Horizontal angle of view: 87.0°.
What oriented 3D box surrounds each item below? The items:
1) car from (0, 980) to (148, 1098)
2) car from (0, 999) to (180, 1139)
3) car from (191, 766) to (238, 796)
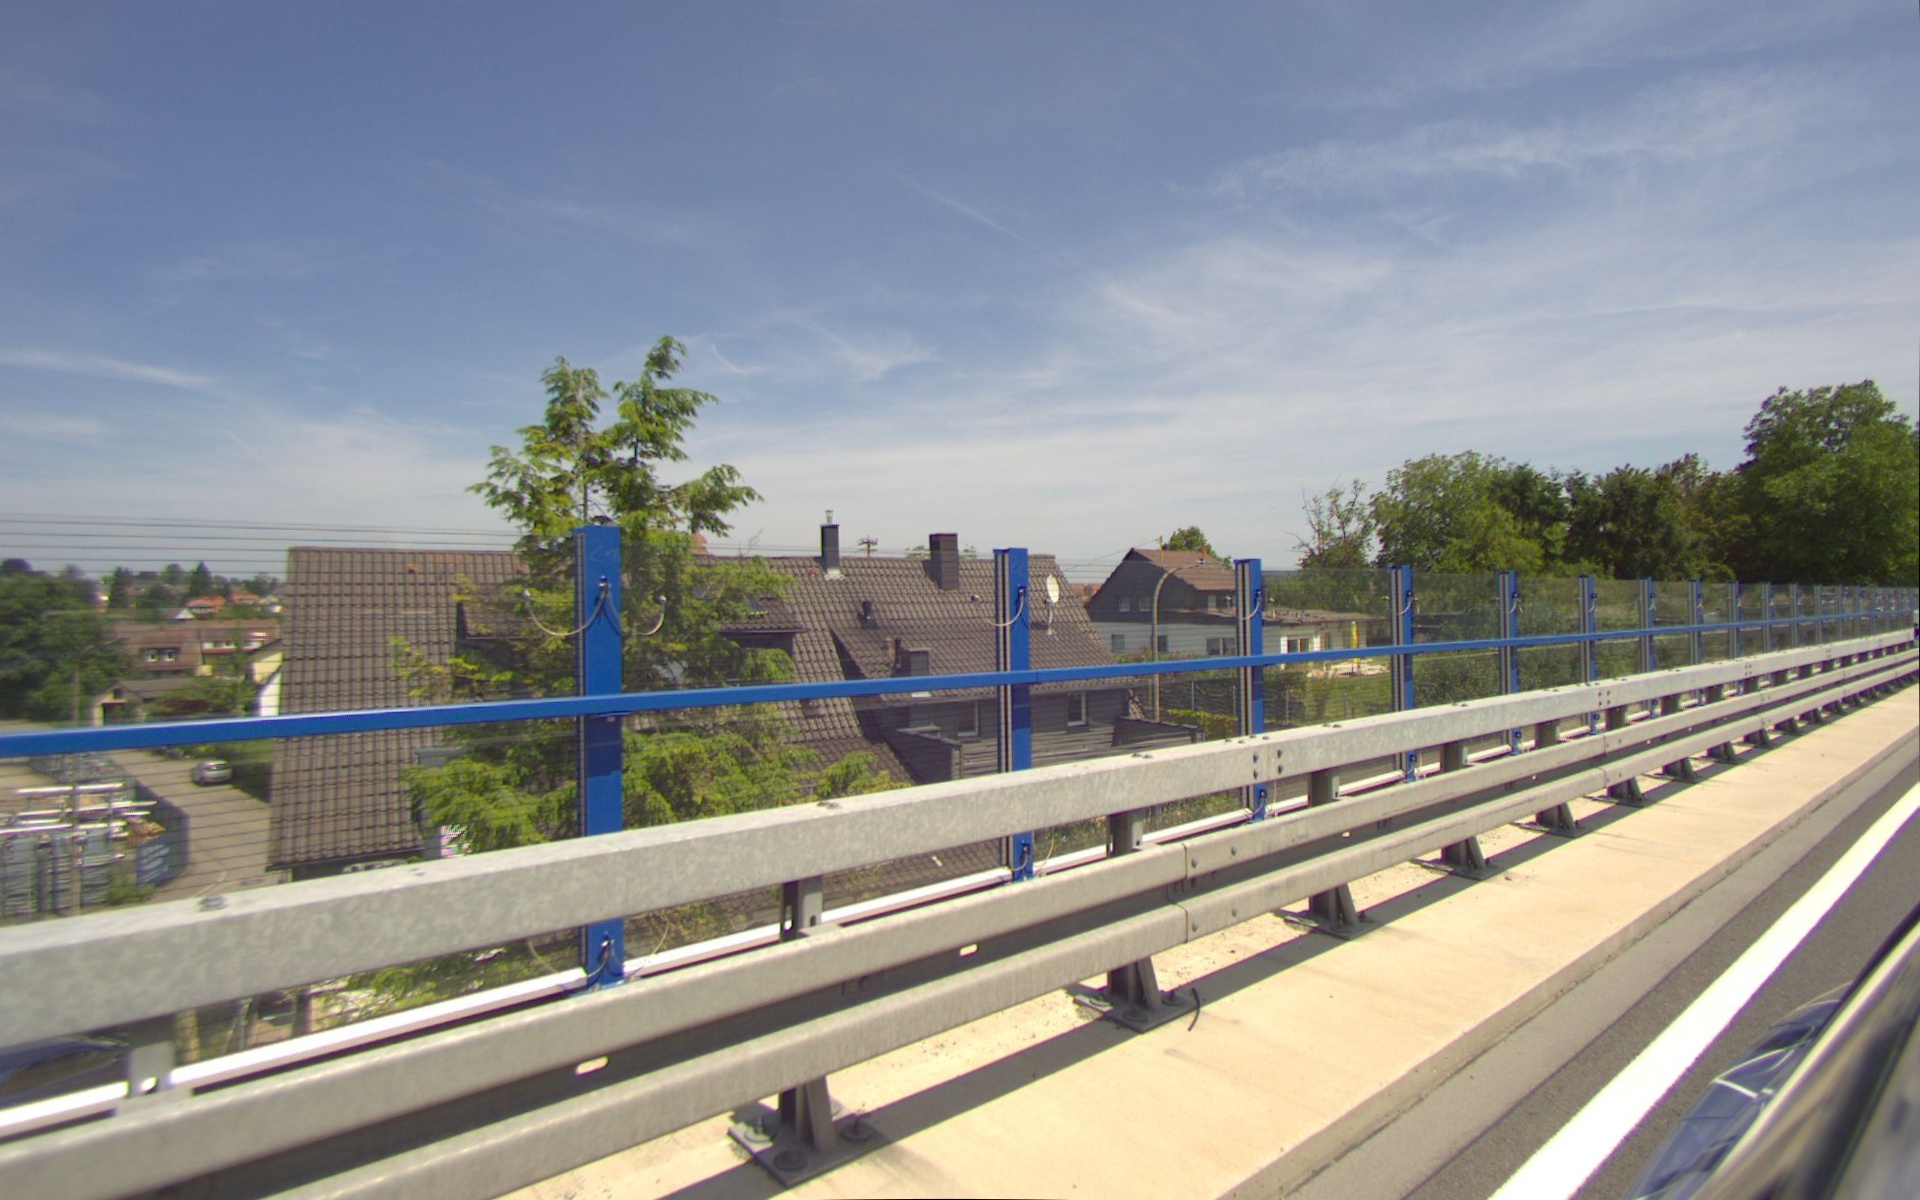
[{"bbox_3d":[-19.141,9.030,20.426,1.707,1.385,3.968,-7,-5,22],"label":"car"},{"bbox_3d":[-17.271,8.857,18.890,1.707,1.385,3.968,-7,-5,22],"label":"car"},{"bbox_3d":[-47.235,11.452,64.079,1.794,1.589,3.986,-1,-7,-45],"label":"car"}]
